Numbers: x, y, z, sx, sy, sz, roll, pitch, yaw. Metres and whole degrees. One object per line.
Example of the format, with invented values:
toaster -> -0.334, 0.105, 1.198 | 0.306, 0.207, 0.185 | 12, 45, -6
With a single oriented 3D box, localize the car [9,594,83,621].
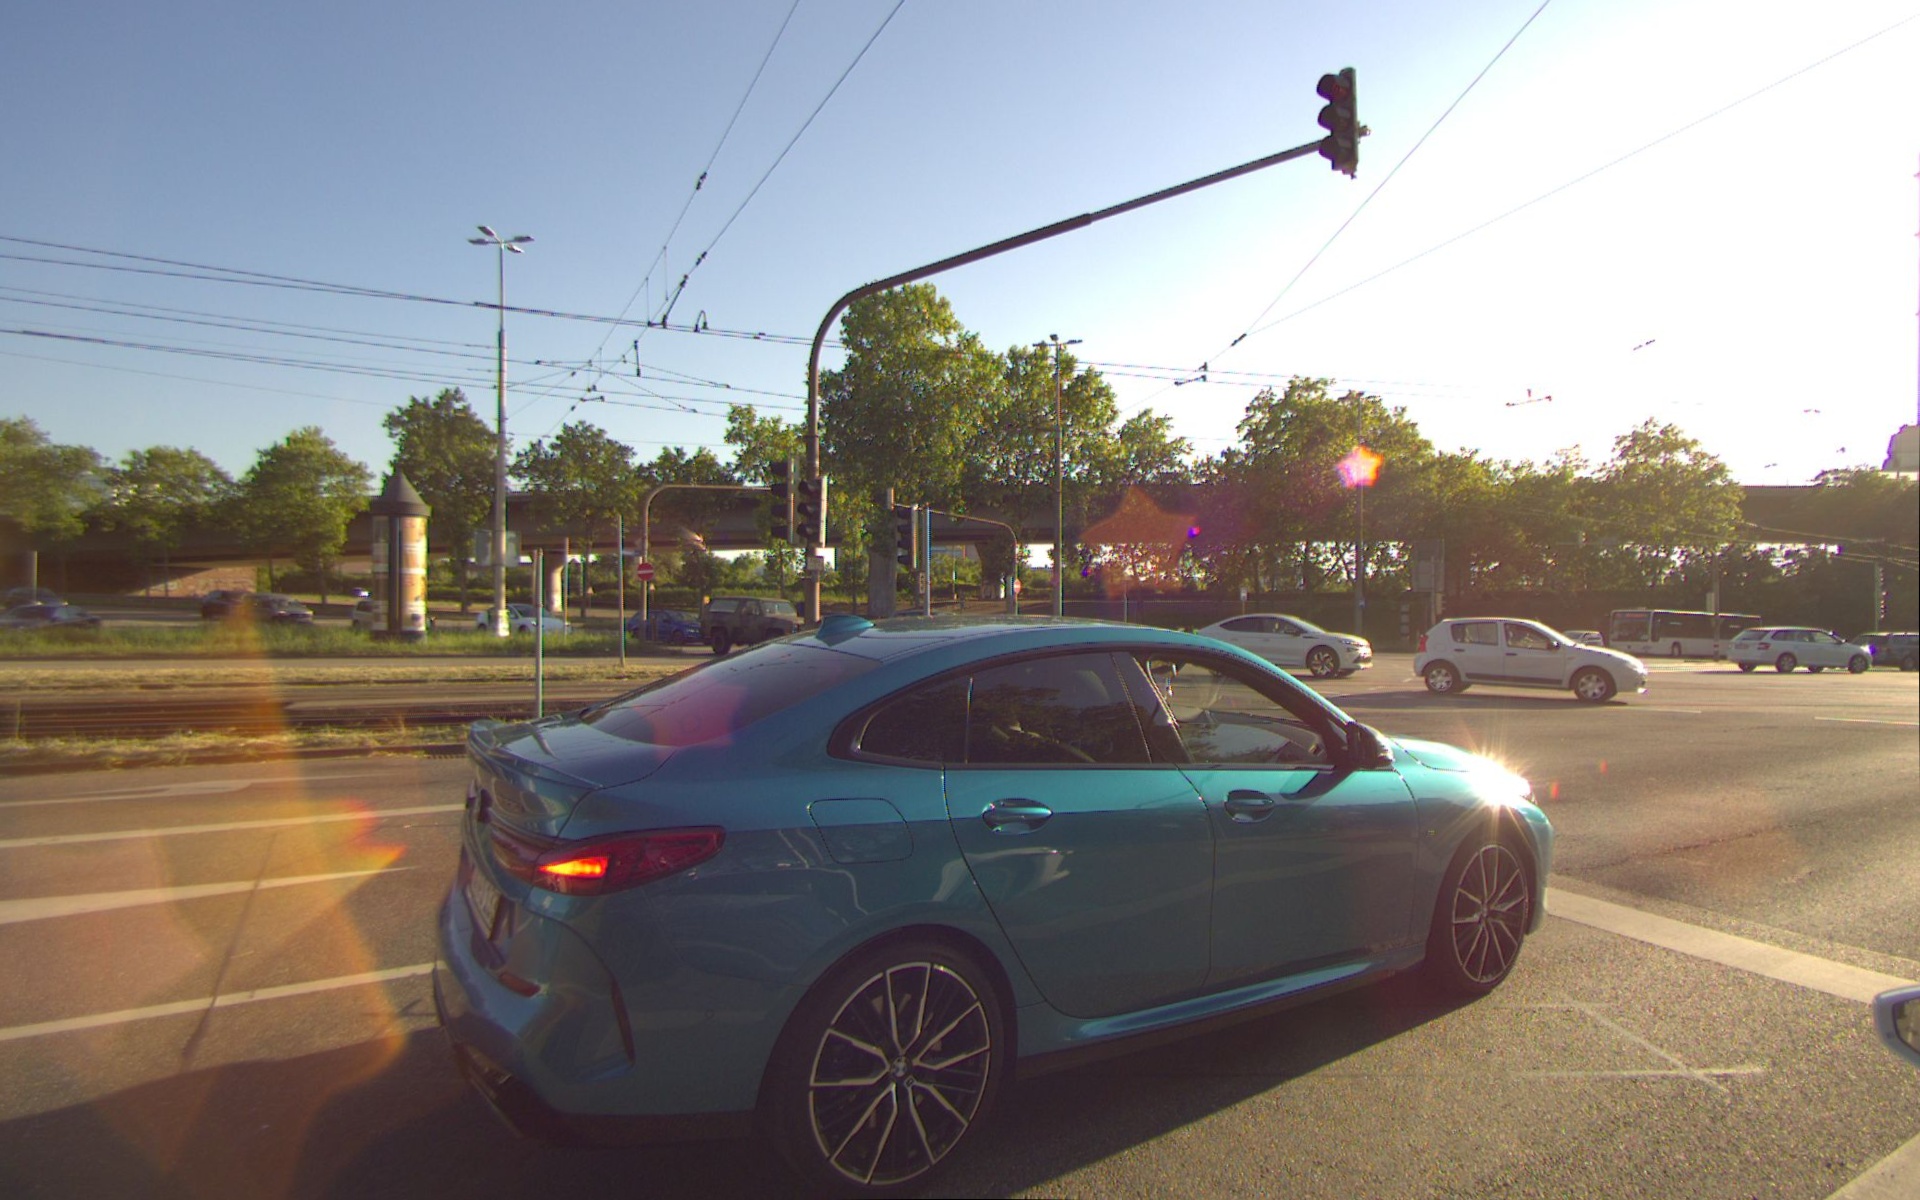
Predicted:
car -> -57.230, 0.465, 62.906 | 3.857, 1.546, 1.724 | 1, 0, 18

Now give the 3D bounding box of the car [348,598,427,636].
car -> -26.868, 0.762, 47.070 | 4.219, 1.653, 1.687 | 1, 0, 37

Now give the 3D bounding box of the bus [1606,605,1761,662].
bus -> 45.574, 2.182, 63.094 | 12.756, 3.171, 2.534 | 3, -2, -28

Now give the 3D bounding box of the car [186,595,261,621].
car -> -45.567, 0.496, 62.144 | 4.327, 1.546, 1.623 | 1, 0, 21

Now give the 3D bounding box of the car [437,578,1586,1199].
car -> 0.447, 0.748, 3.798 | 4.162, 1.485, 1.704 | 1, -1, -33

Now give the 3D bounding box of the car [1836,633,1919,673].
car -> 36.313, 2.052, 38.541 | 4.364, 1.423, 1.668 | 1, 0, -9

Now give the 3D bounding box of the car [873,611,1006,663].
car -> -0.712, 1.190, 33.438 | 4.177, 1.595, 1.689 | 1, -1, 34

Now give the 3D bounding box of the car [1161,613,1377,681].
car -> 8.198, 1.196, 26.952 | 5.283, 1.595, 1.733 | 1, -1, 38

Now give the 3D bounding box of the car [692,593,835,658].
car -> -6.704, 0.820, 34.041 | 4.865, 2.017, 2.030 | 1, -1, 37

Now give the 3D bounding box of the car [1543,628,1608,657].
car -> 35.128, 2.413, 57.308 | 3.964, 1.532, 1.598 | 1, 0, -32

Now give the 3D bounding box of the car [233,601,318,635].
car -> -35.972, 0.932, 52.772 | 4.331, 1.701, 1.692 | 1, 0, 25

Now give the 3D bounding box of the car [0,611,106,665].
car -> -32.293, 1.267, 35.032 | 1.723, 1.701, 4.745 | 1, 0, -12

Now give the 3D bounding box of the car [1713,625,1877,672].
car -> 27.675, 1.595, 33.370 | 4.115, 1.423, 1.670 | 1, 0, -2

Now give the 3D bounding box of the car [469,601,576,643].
car -> -18.157, 0.895, 41.633 | 4.685, 1.596, 1.689 | 1, 0, 32

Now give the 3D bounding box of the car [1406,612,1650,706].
car -> 11.027, 1.073, 19.635 | 3.938, 1.595, 1.686 | 1, -1, 39

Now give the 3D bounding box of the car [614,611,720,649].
car -> -12.394, 1.228, 42.451 | 4.545, 1.478, 1.690 | 1, -1, 32
